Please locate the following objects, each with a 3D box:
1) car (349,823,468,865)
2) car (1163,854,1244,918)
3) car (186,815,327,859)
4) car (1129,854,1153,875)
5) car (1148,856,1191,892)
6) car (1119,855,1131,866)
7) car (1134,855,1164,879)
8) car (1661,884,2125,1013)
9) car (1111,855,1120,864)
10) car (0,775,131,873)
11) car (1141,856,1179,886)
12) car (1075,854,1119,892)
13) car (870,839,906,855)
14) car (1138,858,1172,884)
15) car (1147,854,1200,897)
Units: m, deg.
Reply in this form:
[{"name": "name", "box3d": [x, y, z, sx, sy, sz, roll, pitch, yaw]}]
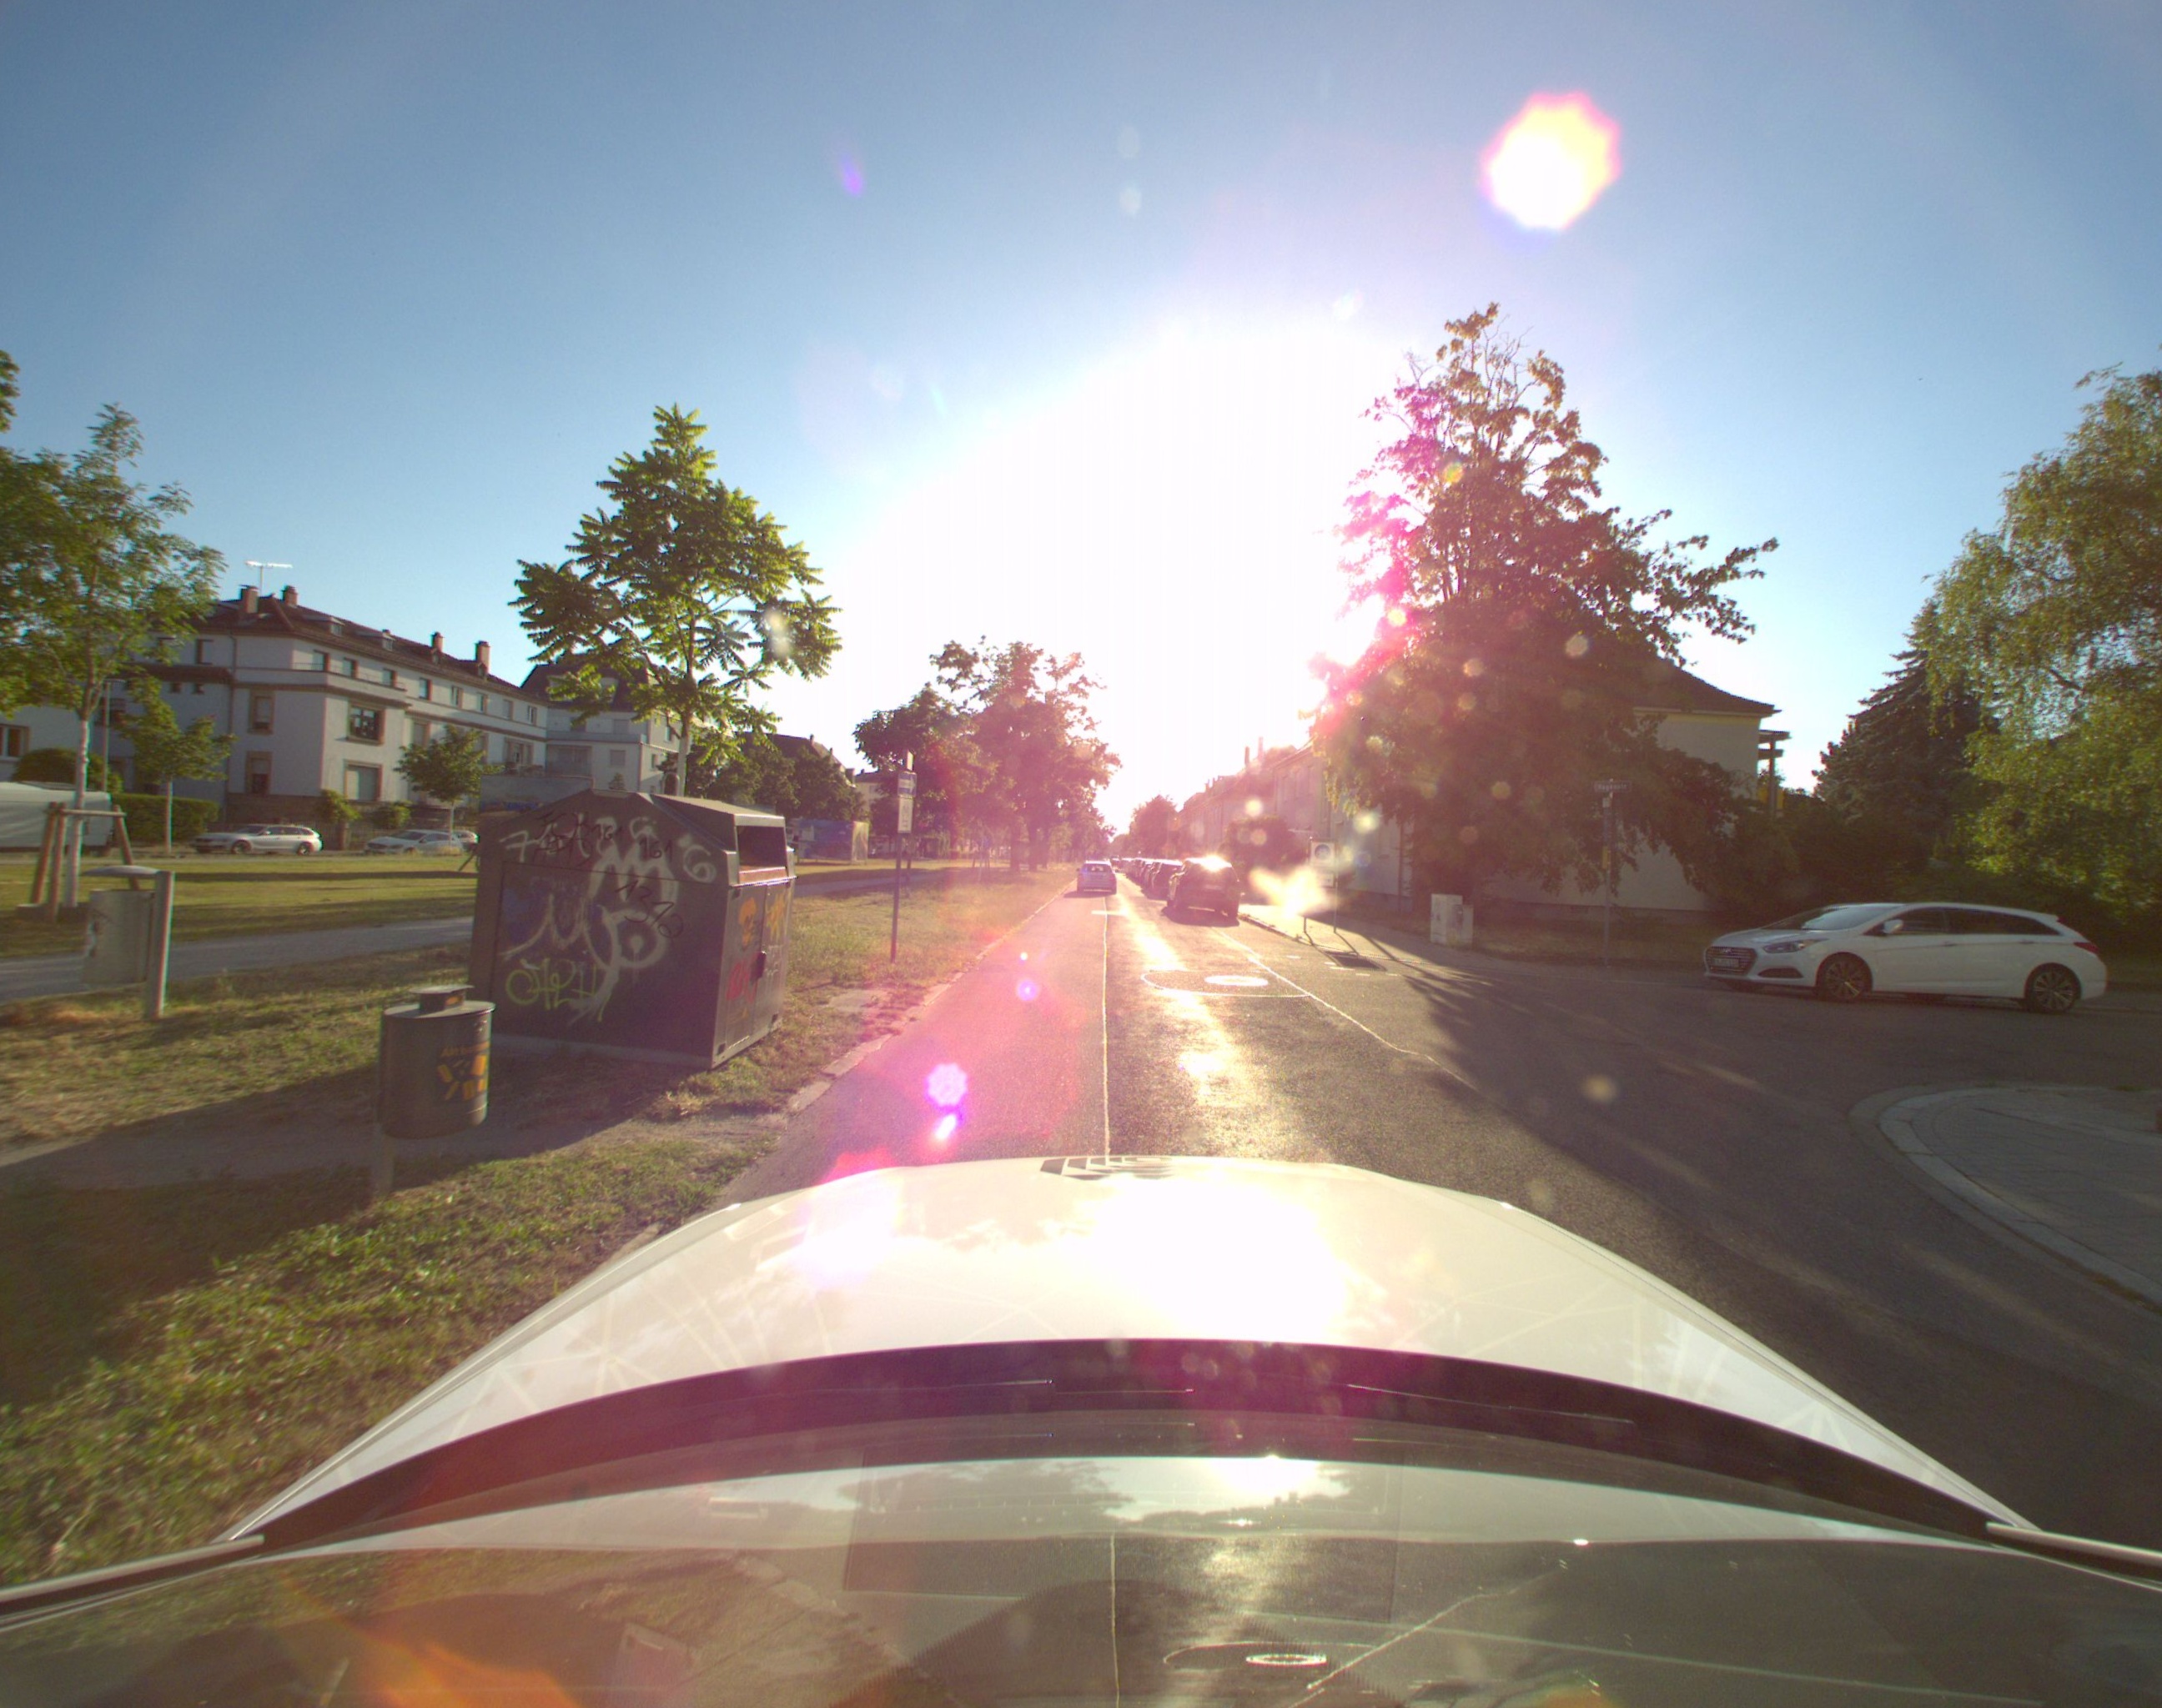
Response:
[{"name": "car", "box3d": [-32.718, -0.421, 39.841, 1.826, 1.899, 4.645, -1, -1, 3]}, {"name": "car", "box3d": [3.843, 0.952, 26.378, 1.826, 1.732, 5.033, 5, -1, 1]}, {"name": "car", "box3d": [-38.460, -0.743, 38.181, 1.723, 1.854, 4.715, -1, -1, 1]}, {"name": "car", "box3d": [5.133, 0.912, 70.310, 1.771, 1.643, 4.757, 2, 0, 1]}, {"name": "car", "box3d": [4.675, 1.027, 43.493, 1.847, 1.657, 4.822, 3, 0, 2]}, {"name": "car", "box3d": [6.756, 1.048, 124.346, 1.715, 1.597, 4.002, 2, -1, 2]}, {"name": "car", "box3d": [4.889, 0.940, 59.064, 1.720, 1.561, 4.414, 3, 0, -1]}, {"name": "car", "box3d": [11.657, 1.328, 11.992, 4.830, 1.486, 2.002, 3, -4, 1]}, {"name": "car", "box3d": [7.792, 1.172, 182.624, 1.981, 2.023, 4.002, 2, 0, 2]}, {"name": "car", "box3d": [-32.891, -0.875, 24.209, 2.252, 2.826, 5.873, -1, -1, 2]}, {"name": "car", "box3d": [4.682, 1.017, 48.939, 1.723, 1.548, 4.206, 7, -1, 0]}, {"name": "car", "box3d": [0.767, 0.817, 36.835, 1.816, 1.566, 4.002, 1, 0, 2]}, {"name": "car", "box3d": [-37.074, -1.336, 156.552, 6.331, 2.720, 1.984, 2, 0, -29]}, {"name": "car", "box3d": [4.855, 1.093, 53.765, 1.985, 1.462, 4.565, 4, 0, 3]}, {"name": "car", "box3d": [4.244, 0.949, 37.973, 1.926, 1.720, 4.622, 5, 0, 1]}]
